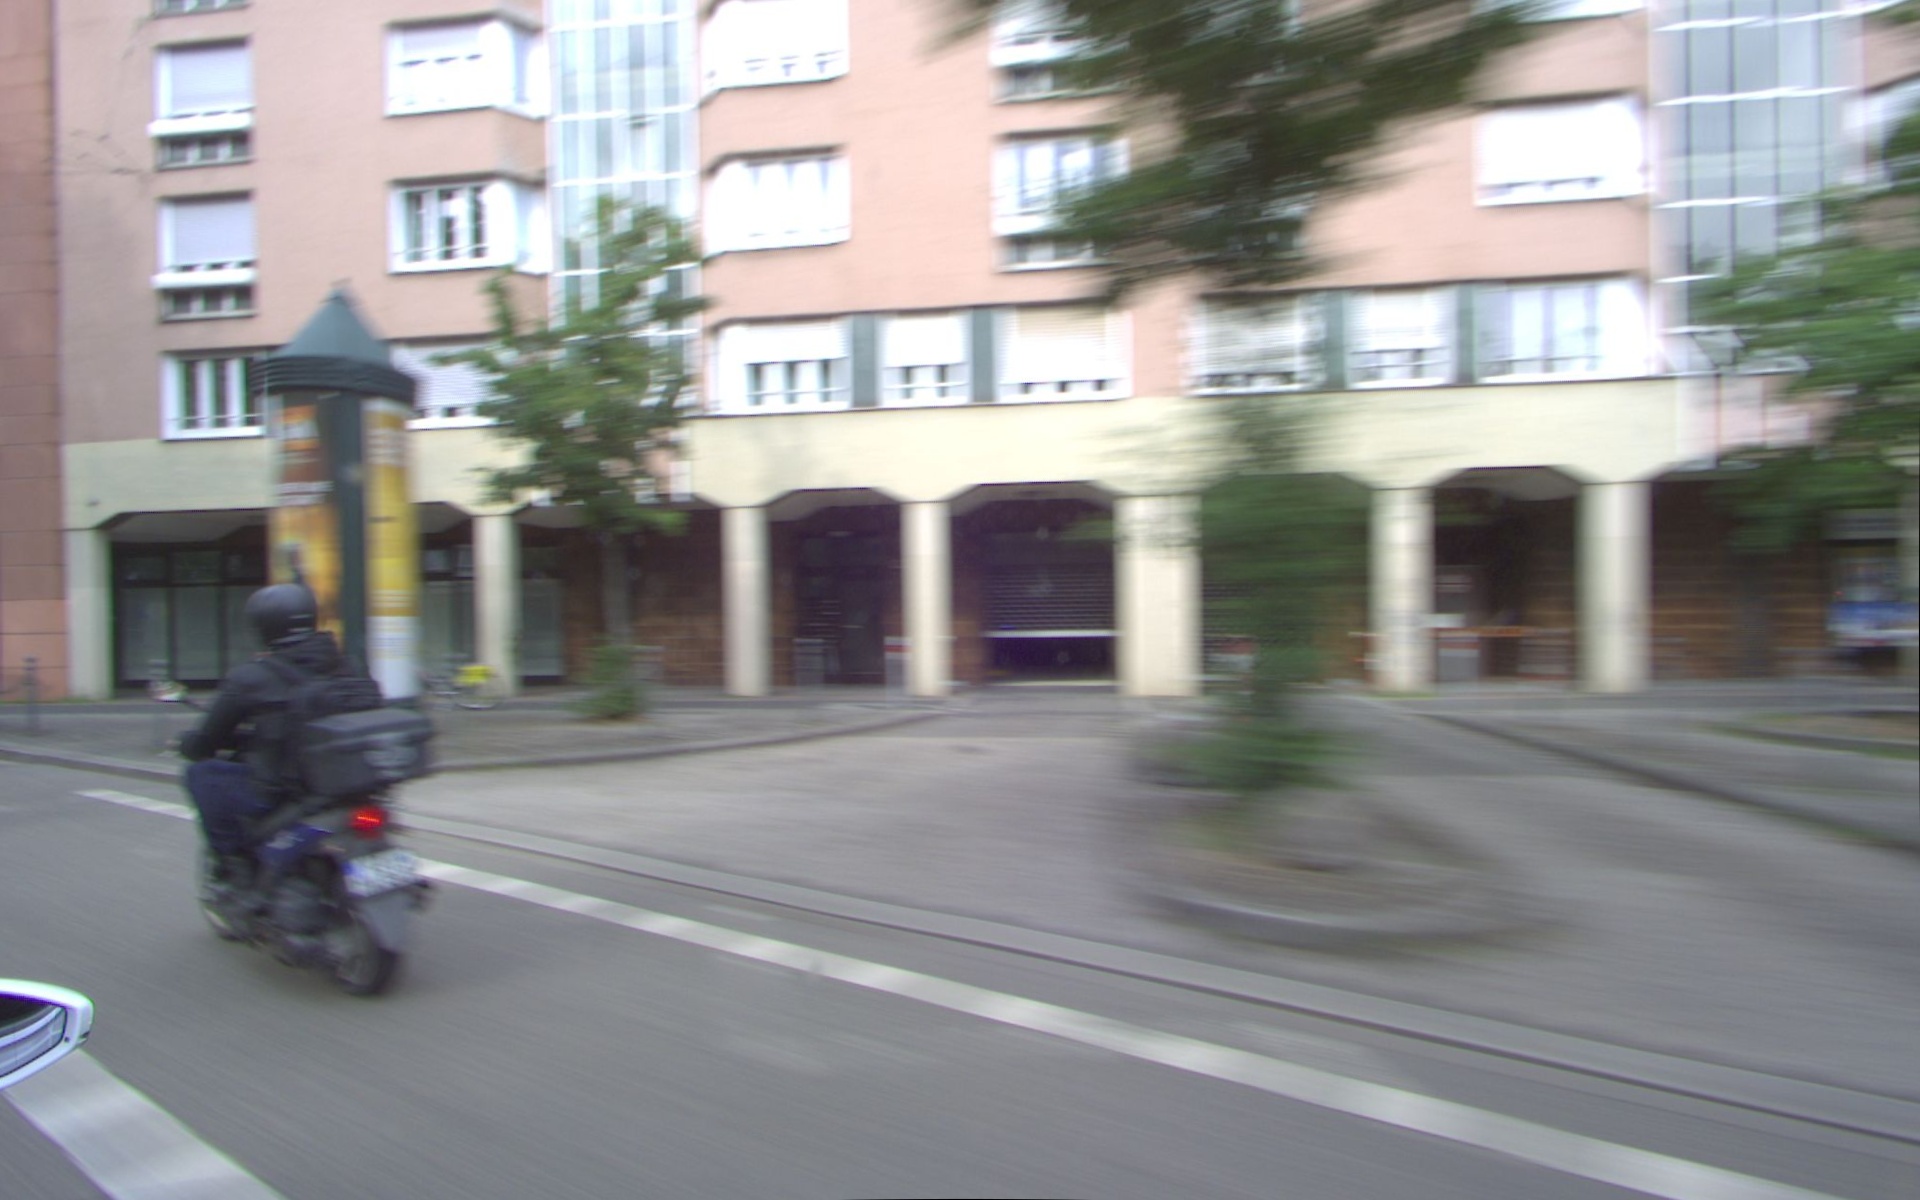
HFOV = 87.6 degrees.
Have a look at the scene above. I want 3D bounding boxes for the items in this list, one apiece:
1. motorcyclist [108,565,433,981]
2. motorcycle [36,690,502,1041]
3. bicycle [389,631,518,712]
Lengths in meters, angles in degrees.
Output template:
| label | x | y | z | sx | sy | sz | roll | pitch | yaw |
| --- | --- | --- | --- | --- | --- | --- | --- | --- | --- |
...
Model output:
| label | x | y | z | sx | sy | sz | roll | pitch | yaw |
| --- | --- | --- | --- | --- | --- | --- | --- | --- | --- |
| motorcyclist | -2.933 | 0.654 | 4.278 | 1.002 | 1.539 | 0.758 | -1 | 0 | 29 |
| motorcycle | -3.041 | 0.998 | 4.343 | 2.175 | 1.122 | 0.766 | -2 | 0 | 29 |
| bicycle | -7.678 | 1.066 | 15.258 | 1.636 | 1.143 | 0.669 | -1 | 0 | -19 |
